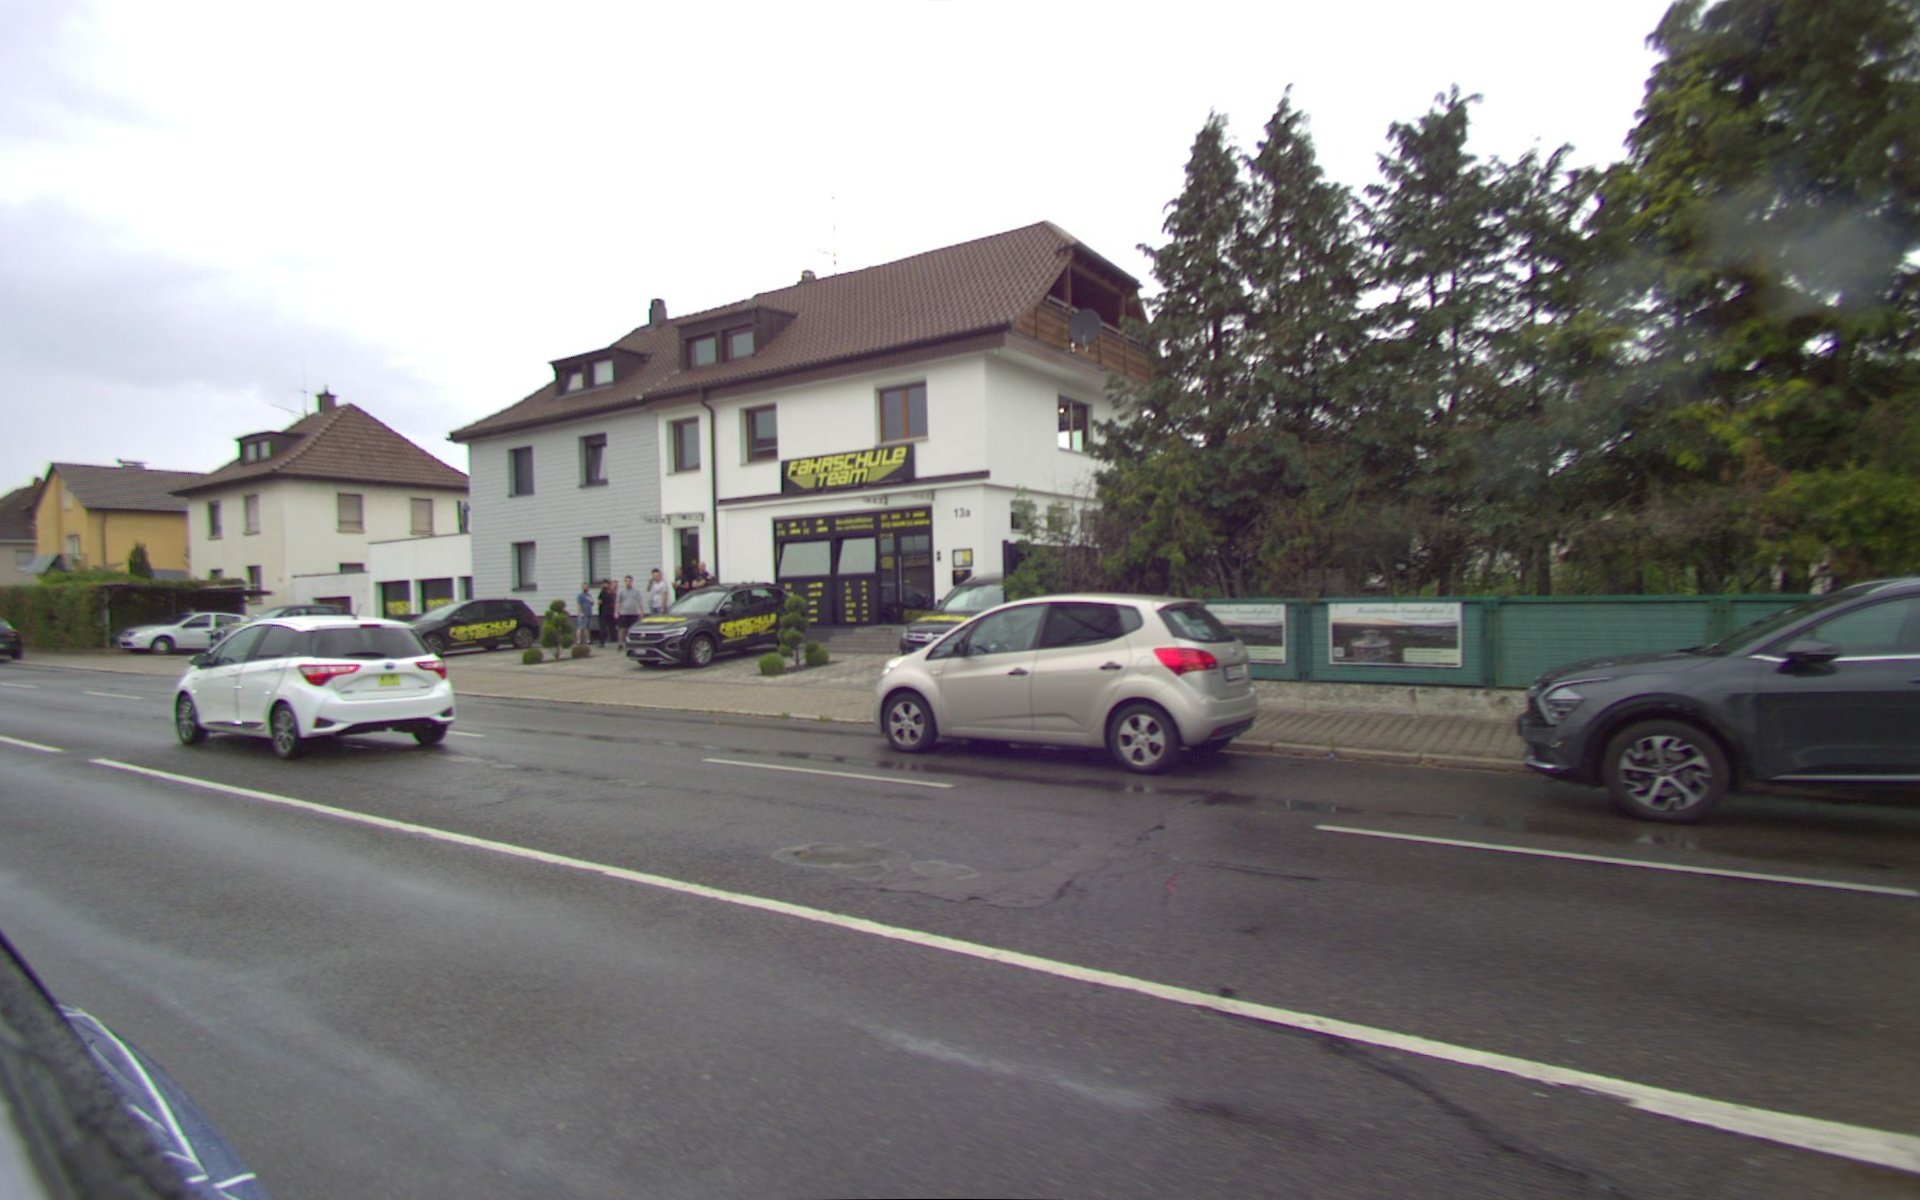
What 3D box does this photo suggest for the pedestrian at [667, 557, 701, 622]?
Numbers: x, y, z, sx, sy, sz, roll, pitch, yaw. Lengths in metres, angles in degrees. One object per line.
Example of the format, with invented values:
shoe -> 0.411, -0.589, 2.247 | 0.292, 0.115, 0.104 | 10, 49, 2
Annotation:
pedestrian -> -7.248, -0.272, 26.568 | 0.549, 1.682, 0.569 | -1, 3, 32

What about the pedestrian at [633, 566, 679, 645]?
pedestrian -> -7.425, 0.122, 24.750 | 0.686, 1.880, 0.725 | -1, 3, 40

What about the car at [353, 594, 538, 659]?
car -> -13.593, 0.644, 26.945 | 1.879, 1.430, 3.954 | -1, 2, 34

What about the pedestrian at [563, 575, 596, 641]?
pedestrian -> -10.430, 0.214, 27.729 | 0.688, 1.766, 0.442 | -1, 3, 35

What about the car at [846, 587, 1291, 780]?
car -> 0.998, 0.686, 10.194 | 4.133, 1.580, 1.789 | 0, 0, 35

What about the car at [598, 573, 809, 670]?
car -> -5.275, 0.393, 21.284 | 1.868, 1.576, 3.954 | -2, 4, 35

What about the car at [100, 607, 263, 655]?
car -> -27.148, 1.133, 35.434 | 1.831, 1.495, 4.074 | -1, -5, 27

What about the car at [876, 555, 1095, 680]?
car -> 0.575, 0.206, 17.542 | 1.735, 1.733, 4.146 | -1, 4, 35

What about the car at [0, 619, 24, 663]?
car -> -32.756, 1.335, 33.521 | 3.990, 1.426, 1.789 | -1, -1, 35

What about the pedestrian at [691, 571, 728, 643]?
pedestrian -> -6.125, 0.157, 24.700 | 0.664, 1.682, 0.693 | -4, 3, -26

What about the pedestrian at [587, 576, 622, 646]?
pedestrian -> -9.349, 0.286, 26.605 | 0.643, 1.800, 0.649 | -3, 1, -32

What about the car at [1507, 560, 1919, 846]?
car -> 6.267, 0.606, 6.620 | 4.587, 1.682, 1.789 | 0, 0, 35

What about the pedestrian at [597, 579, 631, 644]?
pedestrian -> -9.486, 0.306, 27.731 | 0.560, 1.720, 0.582 | -1, 3, 32

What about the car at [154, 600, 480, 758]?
car -> -7.529, 0.802, 11.751 | 3.990, 1.541, 1.817 | -1, -1, 35

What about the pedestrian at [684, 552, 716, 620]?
pedestrian -> -6.602, -0.355, 25.709 | 0.512, 1.682, 0.511 | -1, 3, 40

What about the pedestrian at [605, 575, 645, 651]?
pedestrian -> -8.225, 0.306, 24.868 | 0.539, 1.802, 0.662 | -1, 3, 38

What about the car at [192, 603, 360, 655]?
car -> -21.937, 0.886, 32.604 | 1.879, 1.430, 4.065 | -1, 1, 34

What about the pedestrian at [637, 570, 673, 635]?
pedestrian -> -8.057, 0.059, 26.737 | 0.574, 1.682, 0.578 | -1, 3, 32
